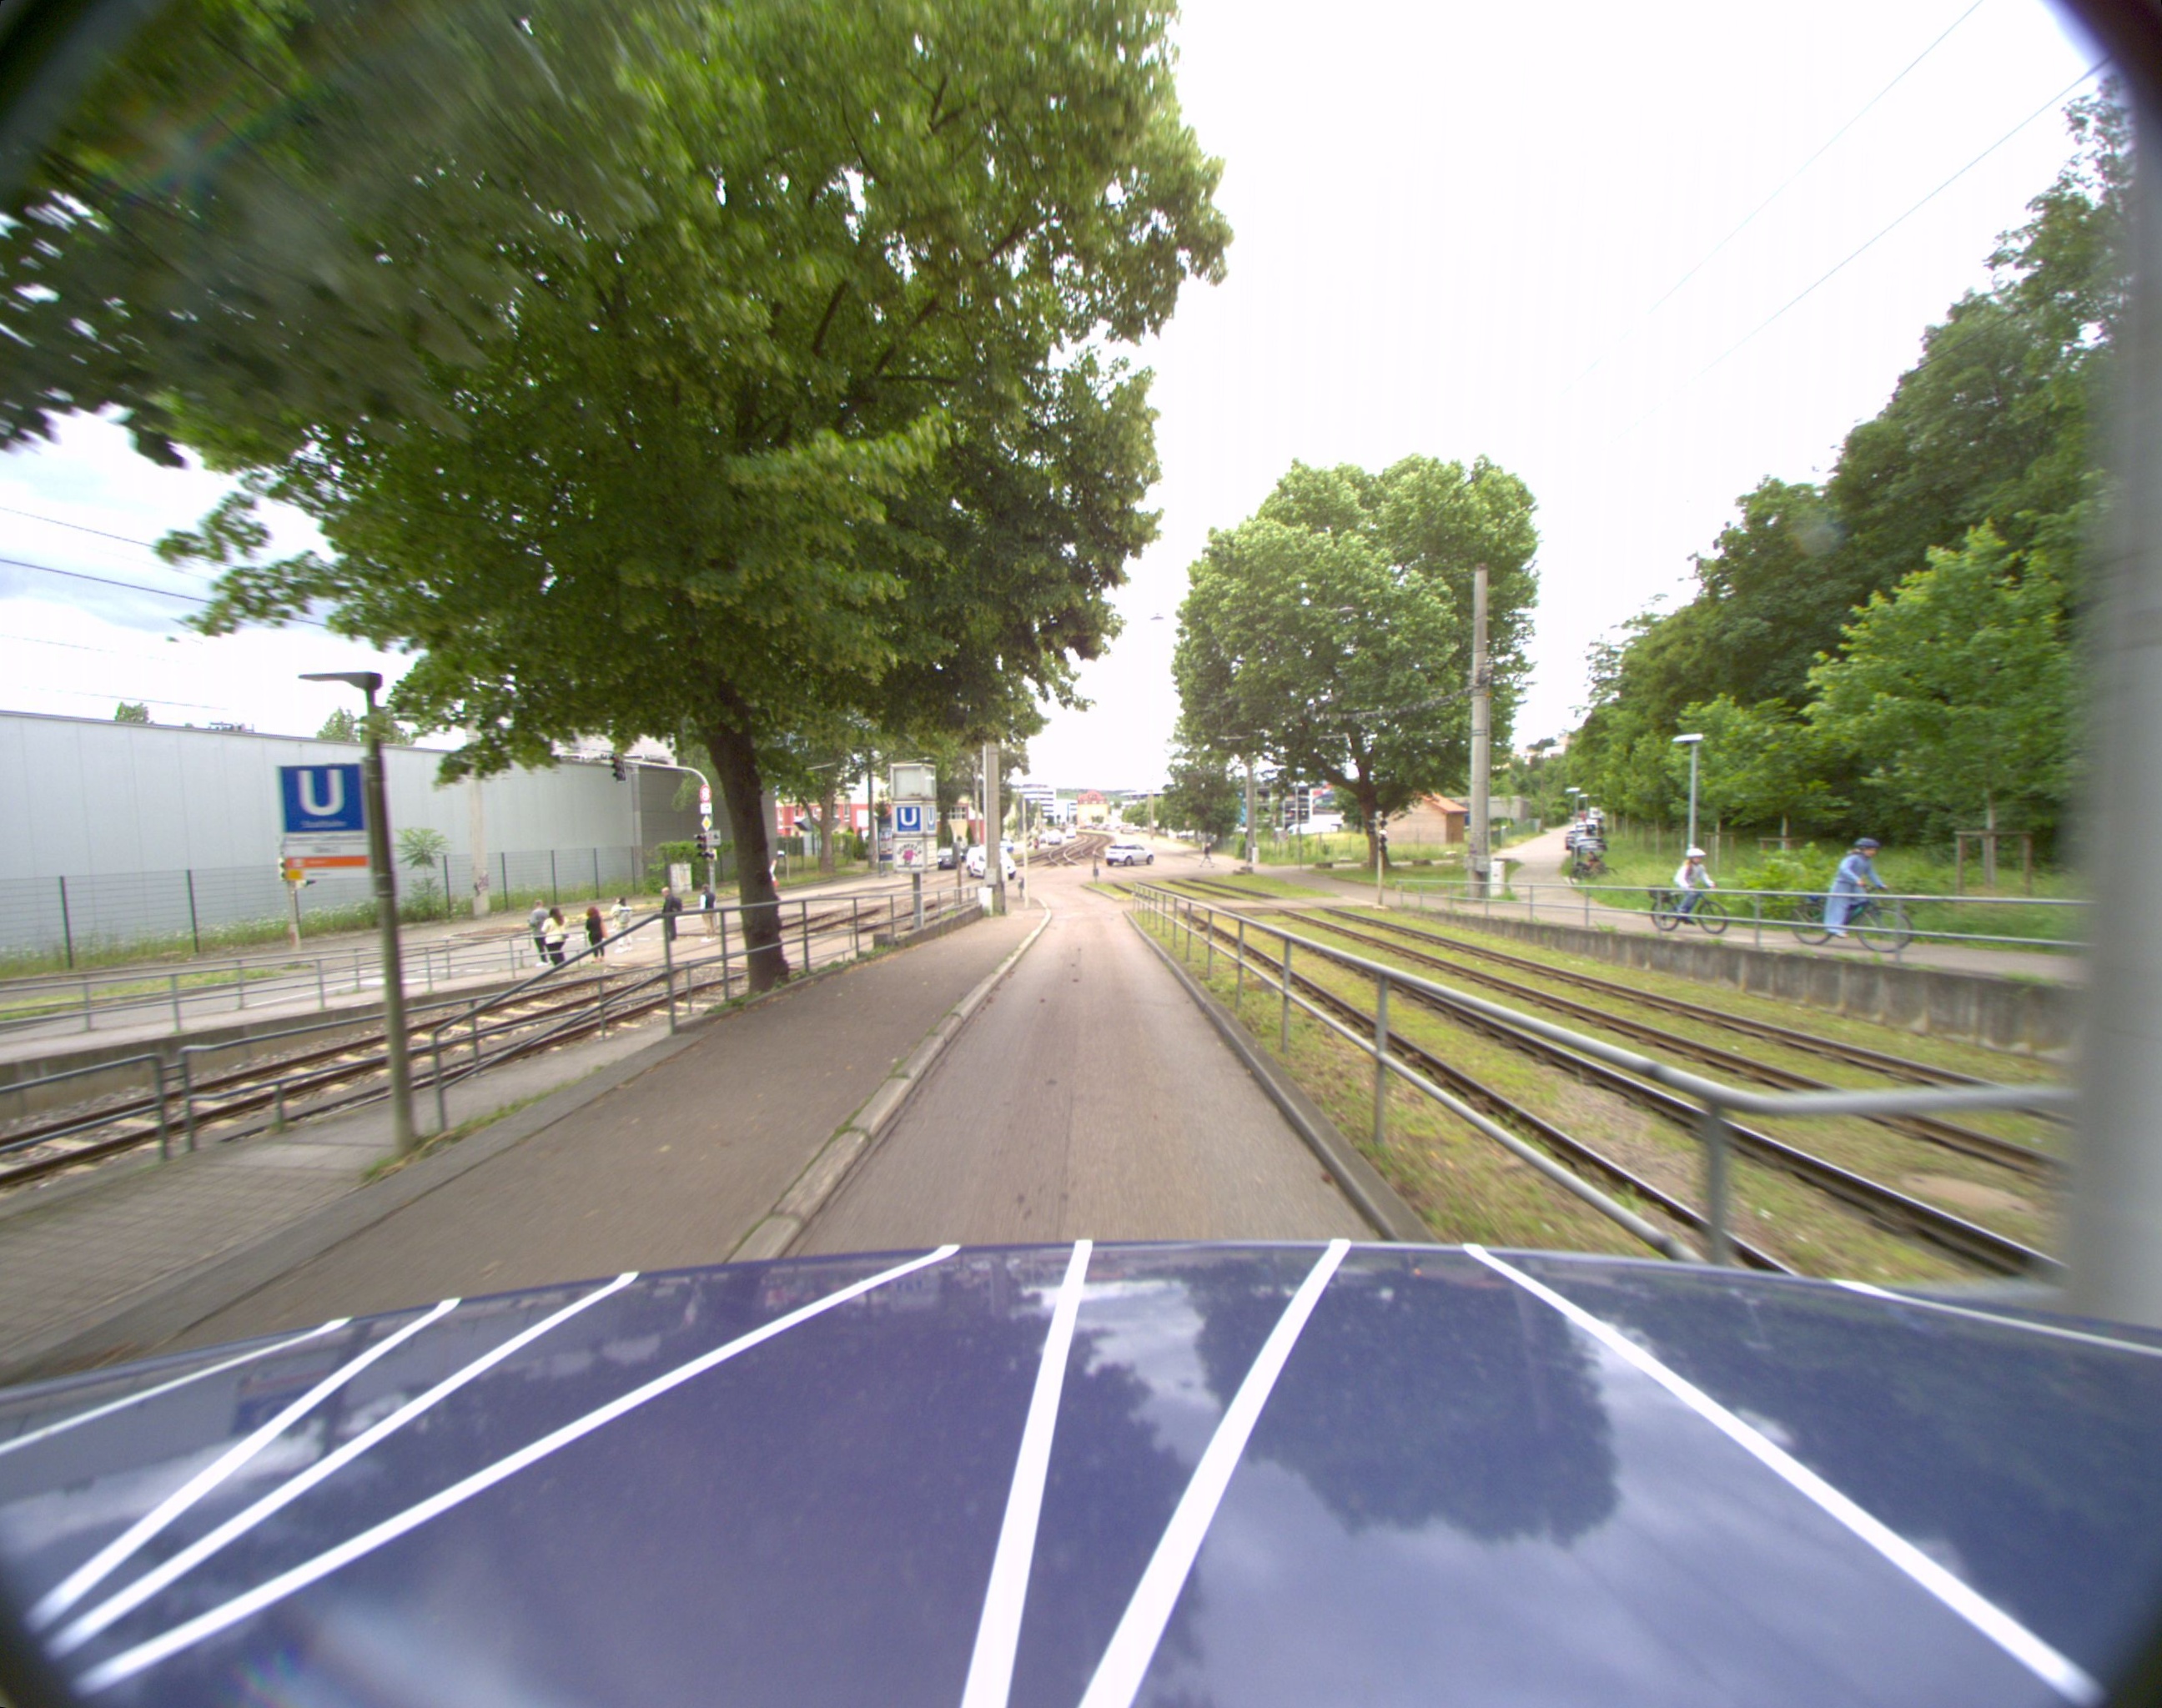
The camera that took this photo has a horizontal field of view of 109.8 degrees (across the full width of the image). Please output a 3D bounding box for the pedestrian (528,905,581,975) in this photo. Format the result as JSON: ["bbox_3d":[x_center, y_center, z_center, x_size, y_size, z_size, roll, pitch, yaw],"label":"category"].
[{"bbox_3d":[-13.157,2.137,18.987,0.752,1.666,0.684,-2,1,12],"label":"pedestrian"}]

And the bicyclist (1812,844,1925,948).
[{"bbox_3d":[11.563,0.603,11.190,0.732,1.434,0.840,-2,-1,-1],"label":"bicyclist"}]

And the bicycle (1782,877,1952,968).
[{"bbox_3d":[11.505,0.955,11.225,0.464,1.181,1.940,-2,-1,1],"label":"bicycle"}]

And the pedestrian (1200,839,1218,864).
[{"bbox_3d":[9.178,-0.174,54.539,1.116,1.724,0.695,-2,1,16],"label":"pedestrian"}]

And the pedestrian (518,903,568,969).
[{"bbox_3d":[-14.305,2.167,20.221,0.752,1.666,0.684,-2,1,12],"label":"pedestrian"}]

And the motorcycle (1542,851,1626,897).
[{"bbox_3d":[19.156,0.735,28.914,3.063,1.543,1.257,-3,1,-26],"label":"motorcycle"}]

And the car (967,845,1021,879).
[{"bbox_3d":[-5.391,0.459,46.576,1.813,1.910,4.468,-3,1,-27],"label":"car"}]

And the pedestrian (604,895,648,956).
[{"bbox_3d":[-13.129,2.050,21.926,0.752,1.666,0.684,-2,1,12],"label":"pedestrian"}]

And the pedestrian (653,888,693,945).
[{"bbox_3d":[-12.638,1.931,23.569,0.752,1.666,0.684,-2,1,12],"label":"pedestrian"}]

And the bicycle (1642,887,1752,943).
[{"bbox_3d":[11.334,1.091,14.058,0.479,0.919,1.845,-2,-2,0],"label":"bicycle"}]

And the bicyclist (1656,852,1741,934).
[{"bbox_3d":[11.333,0.708,13.981,0.747,1.422,0.908,-2,-1,-1],"label":"bicyclist"}]

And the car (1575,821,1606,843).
[{"bbox_3d":[41.367,-1.775,61.730,1.995,1.674,4.007,-2,1,32],"label":"car"}]

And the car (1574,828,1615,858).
[{"bbox_3d":[31.898,-0.706,47.267,1.995,1.674,4.007,-2,1,32],"label":"car"}]

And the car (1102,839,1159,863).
[{"bbox_3d":[3.732,-0.225,56.803,1.994,1.648,4.007,-1,1,45],"label":"car"}]

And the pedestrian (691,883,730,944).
[{"bbox_3d":[-11.336,1.820,23.264,0.752,1.794,0.684,-2,1,12],"label":"pedestrian"}]

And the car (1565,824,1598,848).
[{"bbox_3d":[38.013,-1.388,57.779,1.995,1.674,4.007,-2,1,32],"label":"car"}]

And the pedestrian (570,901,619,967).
[{"bbox_3d":[-12.848,2.098,20.092,0.752,1.666,0.684,-2,1,12],"label":"pedestrian"}]
